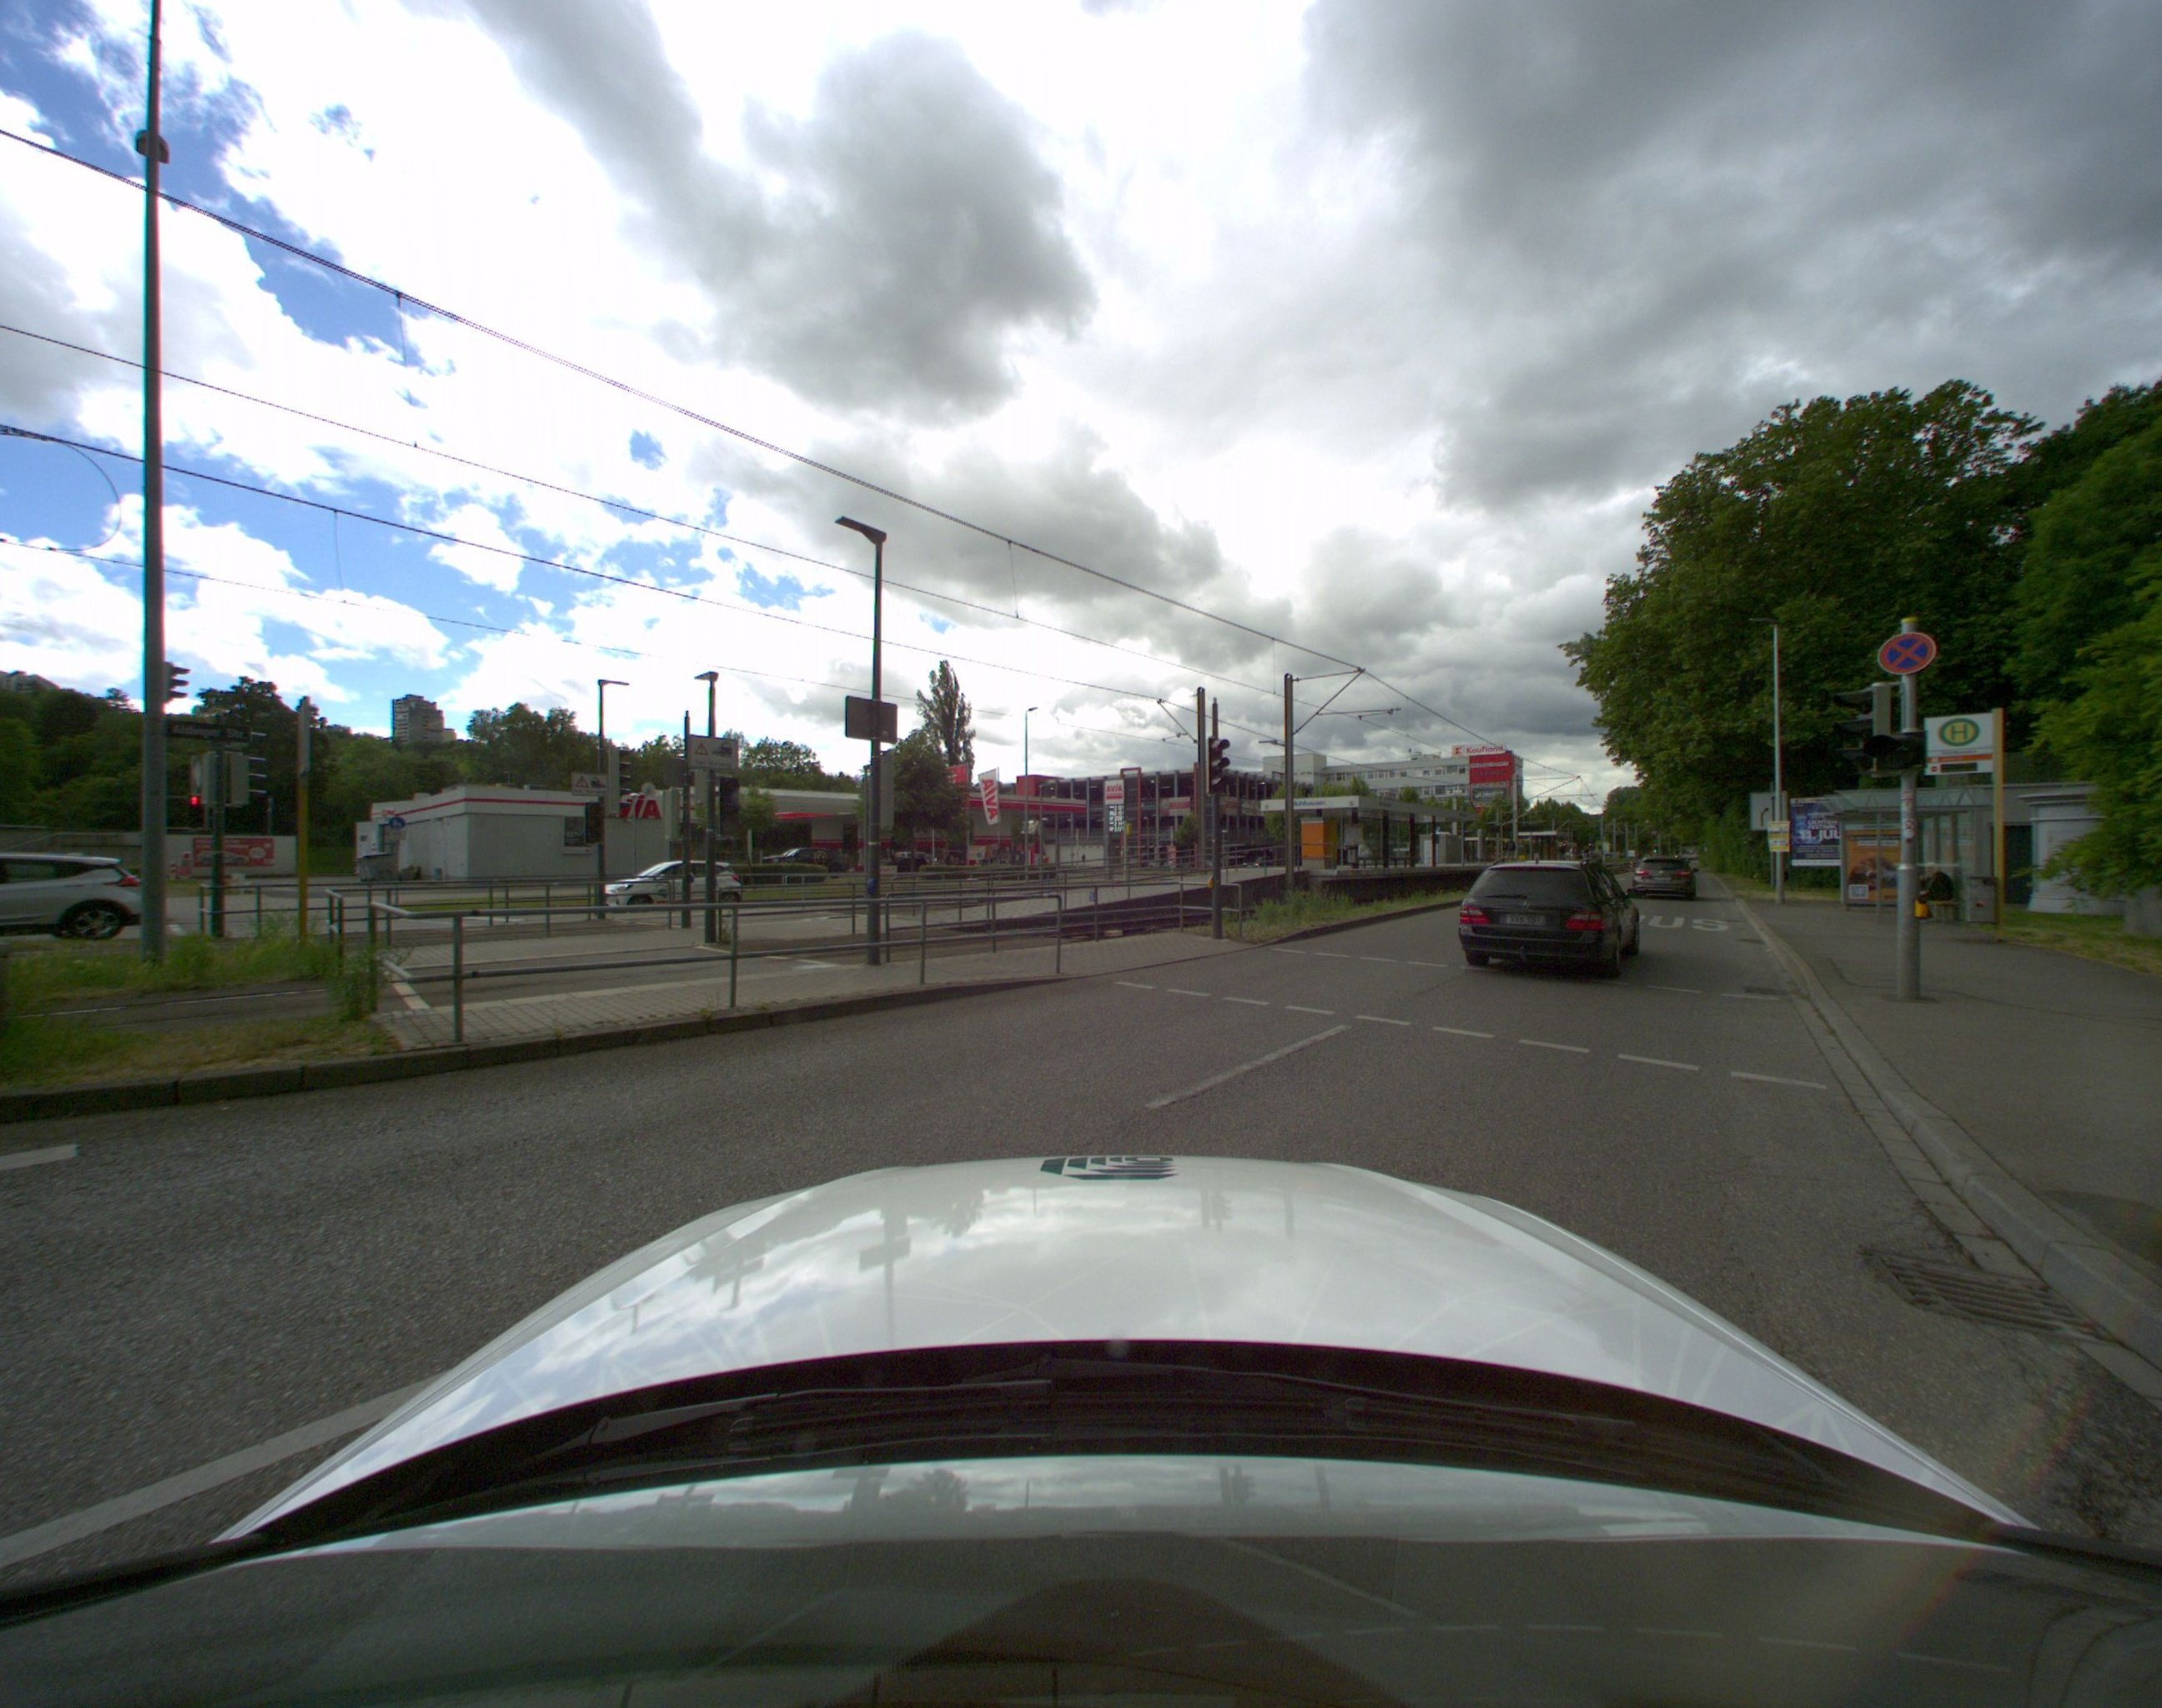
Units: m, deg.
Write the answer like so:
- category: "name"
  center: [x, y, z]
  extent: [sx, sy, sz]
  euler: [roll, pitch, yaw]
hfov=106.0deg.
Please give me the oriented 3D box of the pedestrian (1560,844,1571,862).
- category: "pedestrian"
  center: [45.723, -0.063, 76.874]
  extent: [0.763, 1.678, 0.796]
  euler: [-2, -2, 38]

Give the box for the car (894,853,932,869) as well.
- category: "car"
  center: [-19.026, 0.836, 92.362]
  extent: [1.891, 1.752, 4.084]
  euler: [-2, -2, 37]

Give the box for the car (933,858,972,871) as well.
- category: "car"
  center: [-14.157, 1.157, 89.627]
  extent: [1.891, 1.366, 4.084]
  euler: [-2, -2, 37]

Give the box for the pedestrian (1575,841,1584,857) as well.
- category: "pedestrian"
  center: [49.346, -0.488, 80.598]
  extent: [0.580, 1.483, 0.518]
  euler: [0, -2, -14]

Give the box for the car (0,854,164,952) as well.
- category: "car"
  center: [-18.995, 0.836, 13.938]
  extent: [1.728, 1.641, 4.150]
  euler: [0, 0, 32]

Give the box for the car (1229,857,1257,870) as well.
- category: "car"
  center: [20.074, 1.155, 100.868]
  extent: [1.759, 1.539, 4.025]
  euler: [-2, -2, 38]

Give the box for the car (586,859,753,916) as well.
- category: "car"
  center: [-11.504, 0.886, 22.962]
  extent: [1.611, 1.454, 3.853]
  euler: [-1, -1, 41]

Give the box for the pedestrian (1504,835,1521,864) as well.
- category: "pedestrian"
  center: [27.152, -0.266, 51.221]
  extent: [0.741, 1.744, 0.943]
  euler: [-2, -2, 38]

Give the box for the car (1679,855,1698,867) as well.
- category: "car"
  center: [82.705, 0.921, 110.827]
  extent: [1.808, 1.530, 4.443]
  euler: [1, 0, 40]

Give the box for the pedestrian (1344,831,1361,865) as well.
- category: "pedestrian"
  center: [12.991, -0.269, 38.988]
  extent: [0.564, 1.620, 0.589]
  euler: [-2, -2, 38]

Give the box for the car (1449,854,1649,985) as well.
- category: "car"
  center: [6.824, 0.745, 11.623]
  extent: [1.816, 1.478, 4.443]
  euler: [0, 0, 39]

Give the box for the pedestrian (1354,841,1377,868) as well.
- category: "pedestrian"
  center: [12.996, 0.020, 37.200]
  extent: [0.762, 1.189, 0.732]
  euler: [-1, -1, 42]

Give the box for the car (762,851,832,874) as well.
- category: "car"
  center: [-16.845, 0.503, 48.442]
  extent: [1.597, 1.350, 3.658]
  euler: [0, -1, 40]

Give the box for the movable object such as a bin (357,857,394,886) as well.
- category: "movable object such as a bin"
  center: [-37.038, 0.926, 42.729]
  extent: [1.091, 1.484, 1.380]
  euler: [-2, -2, 45]

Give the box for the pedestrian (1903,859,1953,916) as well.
- category: "pedestrian"
  center: [17.383, 0.682, 16.724]
  extent: [0.595, 1.158, 0.550]
  euler: [-2, -2, 38]

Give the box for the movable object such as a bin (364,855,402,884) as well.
- category: "movable object such as a bin"
  center: [-35.735, 0.794, 41.701]
  extent: [1.091, 1.494, 1.380]
  euler: [-2, -2, 45]

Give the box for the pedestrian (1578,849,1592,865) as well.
- category: "pedestrian"
  center: [52.883, 0.351, 85.456]
  extent: [0.873, 1.678, 0.743]
  euler: [0, -2, -8]

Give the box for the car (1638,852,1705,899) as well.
- category: "car"
  center: [21.279, 0.709, 29.293]
  extent: [1.808, 1.530, 4.443]
  euler: [1, 0, 37]

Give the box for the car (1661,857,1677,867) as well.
- category: "car"
  center: [94.674, 1.318, 131.041]
  extent: [1.808, 1.530, 3.952]
  euler: [-1, -1, 40]

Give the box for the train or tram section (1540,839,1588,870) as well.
- category: "train or tram section"
  center: [65.837, -0.073, 110.669]
  extent: [2.730, 3.828, 18.748]
  euler: [2, 2, 40]

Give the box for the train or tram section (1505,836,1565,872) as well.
- category: "train or tram section"
  center: [53.822, -0.013, 96.211]
  extent: [2.730, 3.883, 18.747]
  euler: [-1, 0, 40]
